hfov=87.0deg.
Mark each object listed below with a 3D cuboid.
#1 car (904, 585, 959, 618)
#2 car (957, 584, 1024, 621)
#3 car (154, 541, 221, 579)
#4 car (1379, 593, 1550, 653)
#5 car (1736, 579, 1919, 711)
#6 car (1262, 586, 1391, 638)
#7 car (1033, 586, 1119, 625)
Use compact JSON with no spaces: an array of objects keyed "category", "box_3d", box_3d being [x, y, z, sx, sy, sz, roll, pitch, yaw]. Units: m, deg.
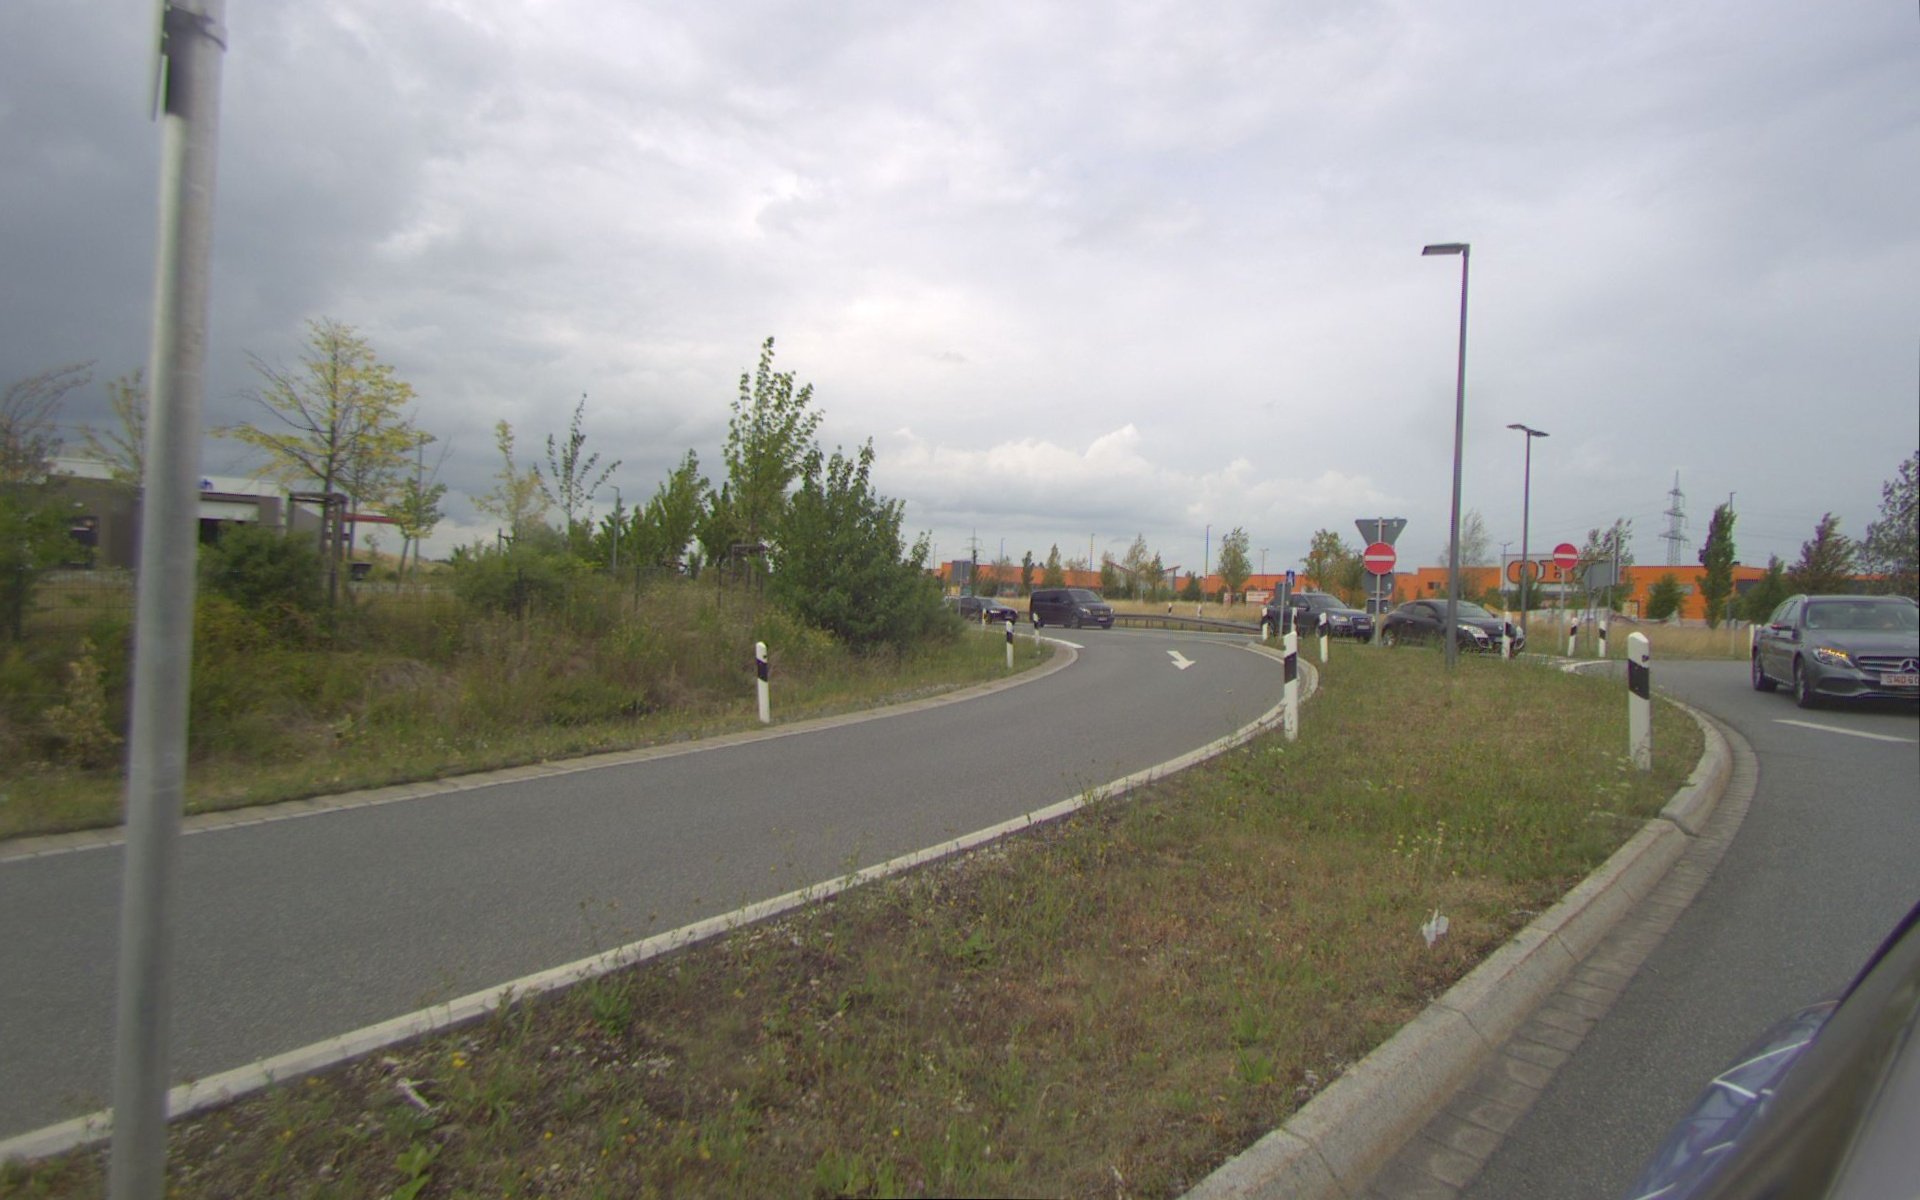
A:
[{"category":"car","box_3d":[-1.801,0.076,61.891,1.769,1.906,4.006,1,0,-27]},{"category":"car","box_3d":[1.633,0.119,55.262,1.770,1.906,4.004,1,0,-30]},{"category":"car","box_3d":[-32.353,-1.628,42.476,1.636,1.449,4.005,1,0,-29]},{"category":"car","box_3d":[12.713,0.538,25.841,1.806,1.387,4.151,1,0,-9]},{"category":"car","box_3d":[12.153,0.482,13.620,1.888,1.516,4.300,0,1,26]},{"category":"car","box_3d":[12.225,0.374,34.042,1.844,1.603,4.285,1,0,-17]},{"category":"car","box_3d":[5.363,0.241,47.467,1.687,1.743,4.752,1,0,-27]}]
